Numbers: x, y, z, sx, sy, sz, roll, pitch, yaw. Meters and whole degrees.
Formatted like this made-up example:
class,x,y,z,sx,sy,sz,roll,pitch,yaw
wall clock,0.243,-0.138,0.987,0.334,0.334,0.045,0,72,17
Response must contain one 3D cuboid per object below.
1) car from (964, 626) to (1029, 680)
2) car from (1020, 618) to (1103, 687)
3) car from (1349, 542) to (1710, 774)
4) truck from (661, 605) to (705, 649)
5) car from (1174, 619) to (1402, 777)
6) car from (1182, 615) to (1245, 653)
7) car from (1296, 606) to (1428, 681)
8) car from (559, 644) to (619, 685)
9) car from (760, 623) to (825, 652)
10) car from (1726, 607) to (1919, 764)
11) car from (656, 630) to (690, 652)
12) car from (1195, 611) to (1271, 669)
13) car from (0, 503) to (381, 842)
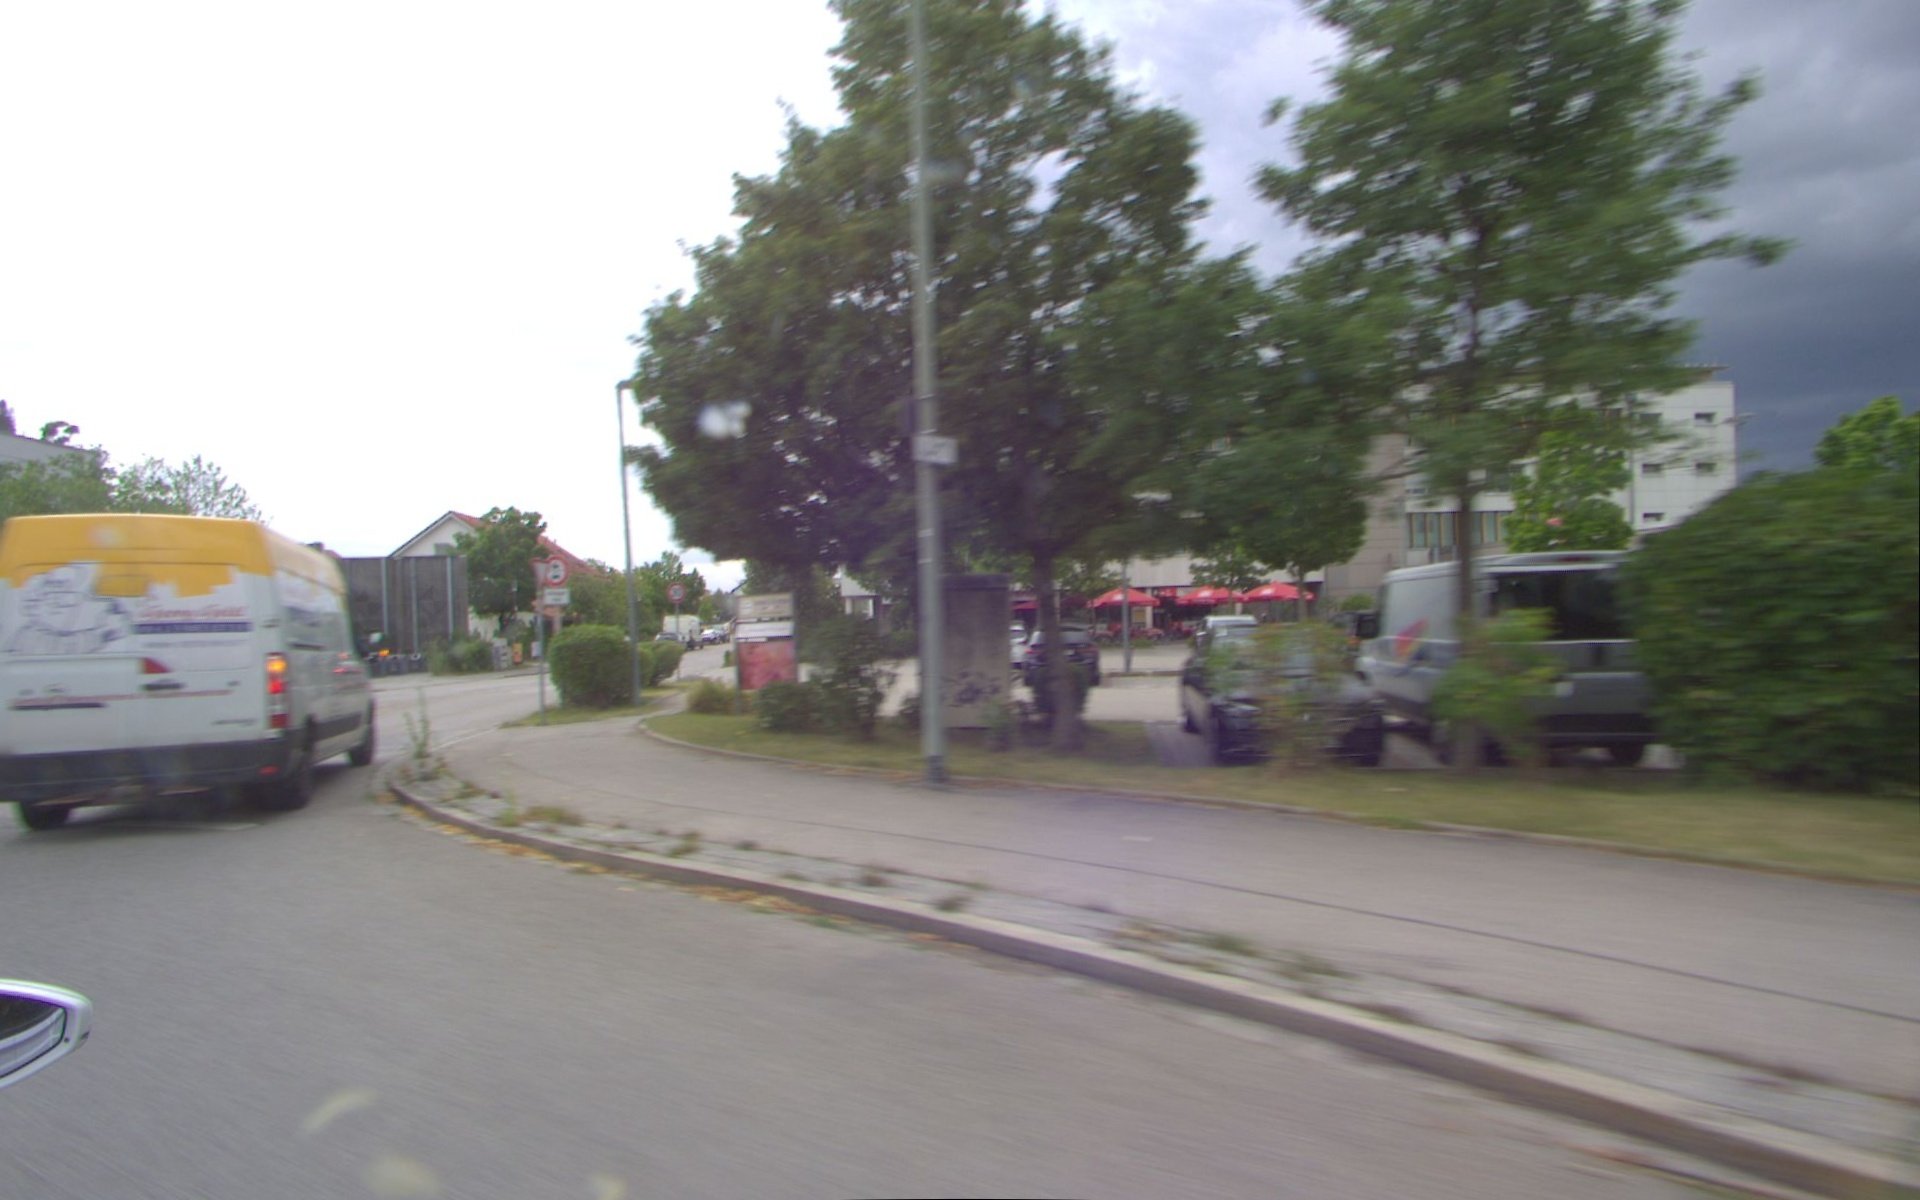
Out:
class,x,y,z,sx,sy,sz,roll,pitch,yaw
car,1.113,1.591,30.247,1.786,1.475,4.003,-2,-3,2
car,2.419,1.200,24.045,1.786,1.476,4.000,-2,-1,5
car,6.292,0.605,11.803,2.115,2.187,4.416,-1,-1,7
truck,-20.376,2.043,73.866,2.127,3.115,5.413,-2,-2,-5
car,3.661,1.007,11.978,1.729,1.513,4.416,-1,-1,7
car,10.668,1.411,42.388,1.786,1.476,4.001,-2,-1,2
car,9.314,1.003,23.542,1.786,1.562,4.001,-2,-2,5
car,-14.037,2.414,38.063,1.768,1.349,3.995,-1,-1,-15
car,-11.168,2.503,66.838,3.951,1.754,1.643,-1,-2,-37
car,10.711,0.874,11.097,1.729,1.576,3.938,-1,-1,7
car,-19.186,2.730,67.089,1.512,1.397,3.511,-3,-1,-5
car,7.918,1.216,29.320,1.840,1.529,4.088,-2,-4,11
car,-7.445,0.643,10.127,2.134,2.483,5.426,0,-2,-24
